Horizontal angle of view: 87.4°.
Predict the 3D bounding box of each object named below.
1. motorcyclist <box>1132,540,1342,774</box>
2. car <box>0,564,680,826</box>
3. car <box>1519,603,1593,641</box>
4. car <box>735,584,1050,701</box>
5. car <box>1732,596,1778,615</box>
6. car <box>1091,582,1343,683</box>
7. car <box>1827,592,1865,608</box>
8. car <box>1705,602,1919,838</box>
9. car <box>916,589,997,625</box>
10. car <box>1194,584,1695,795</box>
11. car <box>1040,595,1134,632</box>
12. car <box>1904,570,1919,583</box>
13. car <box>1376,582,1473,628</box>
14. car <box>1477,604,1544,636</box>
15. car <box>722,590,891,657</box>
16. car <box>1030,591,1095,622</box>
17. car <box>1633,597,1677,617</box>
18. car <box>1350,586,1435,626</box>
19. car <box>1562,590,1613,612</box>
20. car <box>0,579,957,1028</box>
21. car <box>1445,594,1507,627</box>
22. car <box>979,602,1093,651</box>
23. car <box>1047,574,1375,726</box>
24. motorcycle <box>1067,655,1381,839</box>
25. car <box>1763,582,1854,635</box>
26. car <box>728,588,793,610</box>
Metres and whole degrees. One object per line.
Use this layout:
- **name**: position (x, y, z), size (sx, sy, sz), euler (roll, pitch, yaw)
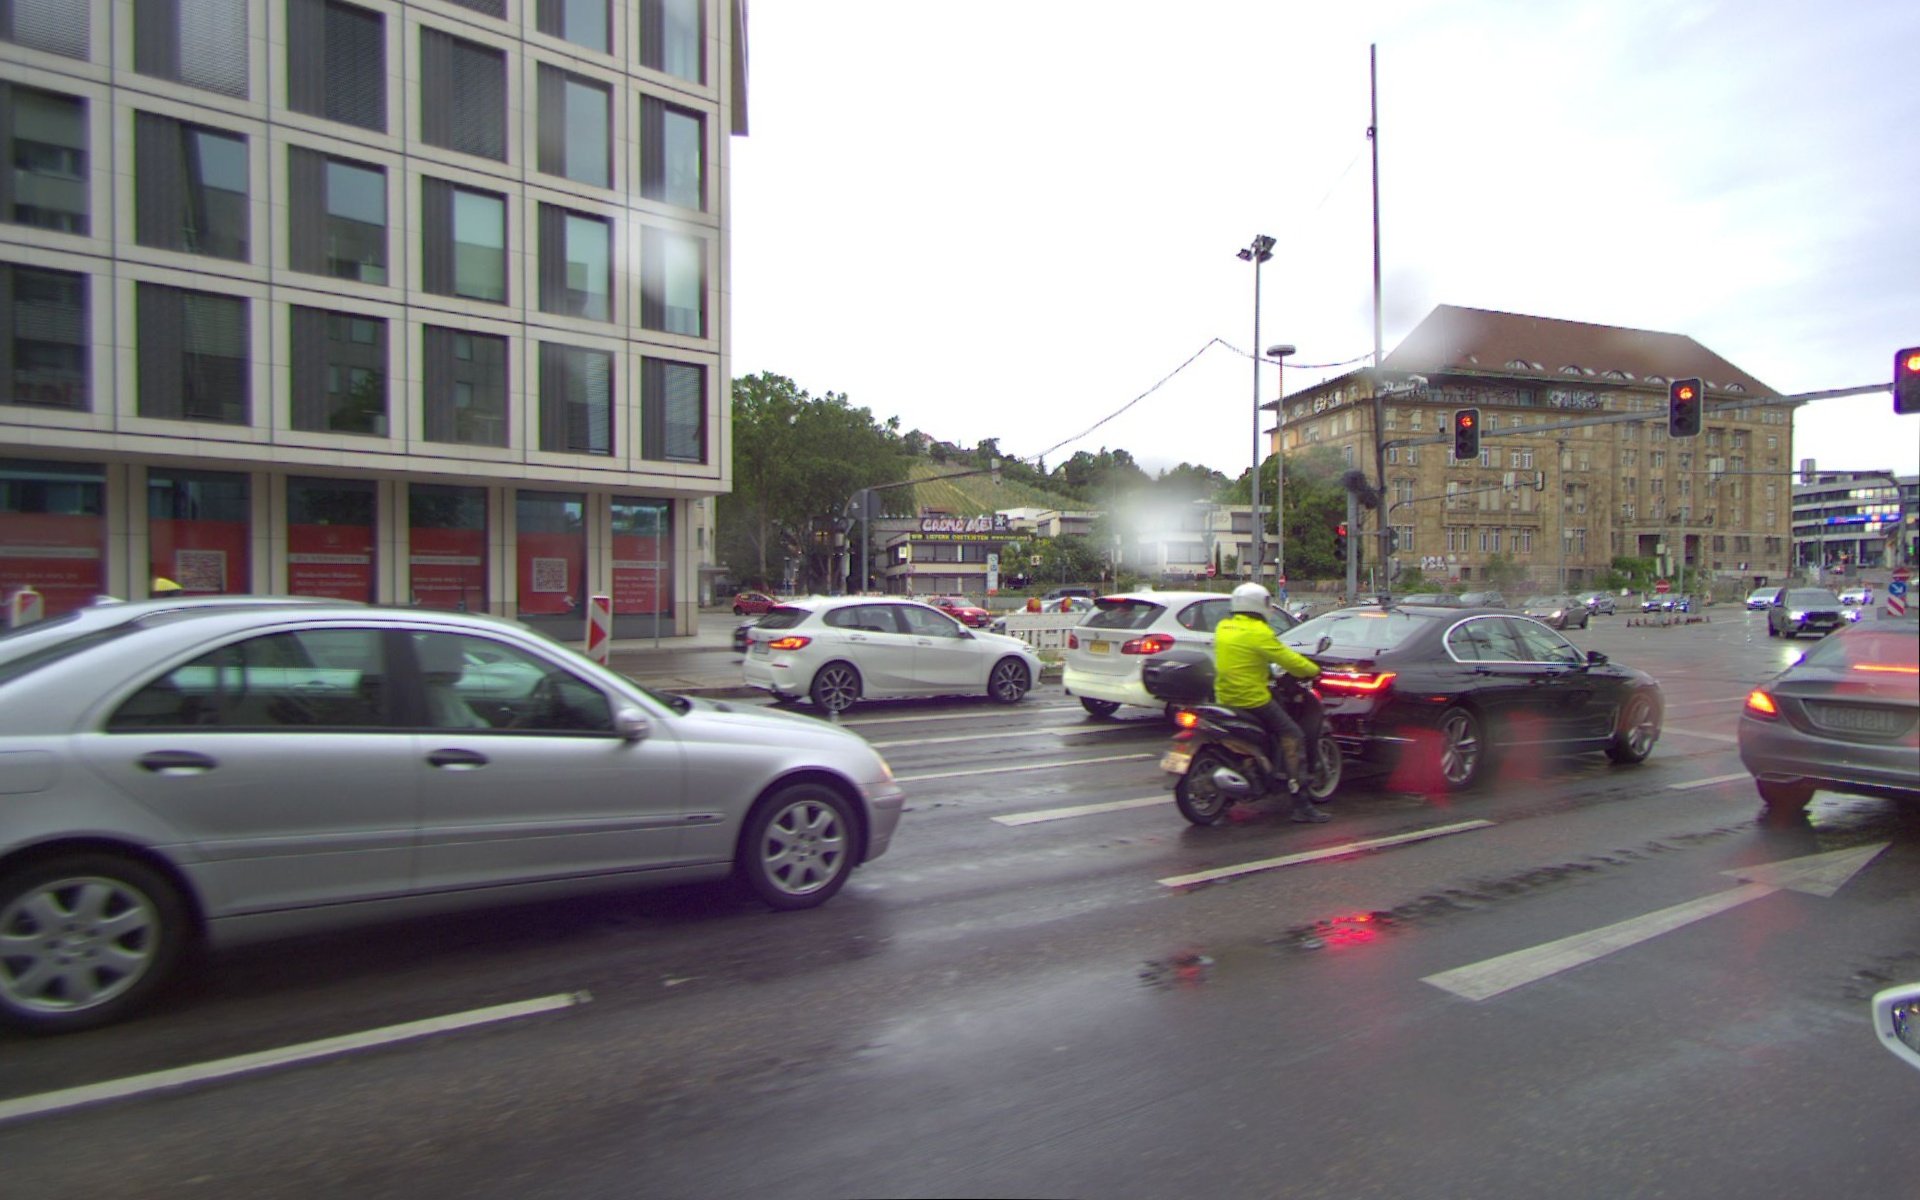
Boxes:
- **motorcyclist**: position (1.960, 0.368, 7.128), size (1.090, 1.495, 0.934), euler (1, 1, -37)
- **car**: position (-4.738, 0.586, 7.565), size (4.748, 1.541, 1.821), euler (2, 0, -32)
- **car**: position (27.362, 1.007, 46.093), size (3.968, 1.595, 1.683), euler (2, 1, -40)
- **car**: position (-0.882, 0.546, 13.837), size (3.949, 1.392, 1.773), euler (2, 0, -32)
- **car**: position (58.946, 0.401, 74.432), size (4.157, 1.277, 1.754), euler (2, 0, -38)
- **car**: position (4.508, 0.560, 17.662), size (4.014, 1.621, 1.779), euler (2, 0, -22)
- **car**: position (77.754, -0.005, 88.132), size (3.964, 1.277, 1.754), euler (2, 0, -38)
- **car**: position (7.817, 0.773, 7.779), size (4.435, 1.421, 1.774), euler (-1, 2, -32)
- **car**: position (-0.196, 0.313, 49.097), size (3.945, 1.617, 1.665), euler (2, 1, 45)
- **car**: position (4.698, 0.709, 9.497), size (4.946, 1.535, 1.877), euler (2, 0, -32)
- **car**: position (6.459, 0.666, 51.321), size (4.324, 1.684, 1.993), euler (2, 1, 36)
- **car**: position (142.898, -3.505, 149.664), size (1.962, 1.840, 3.998), euler (2, 0, 23)
- **car**: position (17.676, 0.207, 38.179), size (4.042, 1.595, 1.786), euler (2, 1, -40)
- **car**: position (27.240, 1.008, 49.652), size (3.523, 1.539, 1.685), euler (1, -1, -38)
- **car**: position (-3.756, 0.576, 24.887), size (3.840, 1.539, 1.684), euler (1, -1, -38)
- **car**: position (7.378, 0.478, 72.549), size (4.154, 2.040, 1.994), euler (2, 1, 34)
- **car**: position (49.308, 0.498, 71.231), size (3.302, 1.277, 1.723), euler (2, 1, -40)
- **car**: position (18.319, 0.271, 42.506), size (3.968, 1.595, 1.683), euler (2, 1, -40)
- **car**: position (40.368, 0.053, 64.619), size (3.967, 1.277, 1.610), euler (2, 1, -40)
- **car**: position (-2.310, 0.683, 4.728), size (4.335, 1.422, 1.723), euler (2, 0, -33)
- **car**: position (28.550, 0.596, 55.501), size (3.967, 1.668, 1.610), euler (2, 1, -40)
- **car**: position (2.544, 0.860, 33.149), size (3.660, 1.539, 1.683), euler (1, -1, -41)
- **car**: position (3.200, 0.573, 12.621), size (3.956, 1.637, 1.723), euler (2, 1, -32)
- **motorcycle**: position (1.918, 0.946, 7.118), size (2.273, 1.002, 0.935), euler (1, 1, -37)
- **car**: position (31.621, 0.314, 37.592), size (1.966, 1.821, 5.088), euler (2, 0, 34)
- **car**: position (-13.282, -0.063, 66.892), size (3.919, 1.339, 1.655), euler (2, 0, 15)
